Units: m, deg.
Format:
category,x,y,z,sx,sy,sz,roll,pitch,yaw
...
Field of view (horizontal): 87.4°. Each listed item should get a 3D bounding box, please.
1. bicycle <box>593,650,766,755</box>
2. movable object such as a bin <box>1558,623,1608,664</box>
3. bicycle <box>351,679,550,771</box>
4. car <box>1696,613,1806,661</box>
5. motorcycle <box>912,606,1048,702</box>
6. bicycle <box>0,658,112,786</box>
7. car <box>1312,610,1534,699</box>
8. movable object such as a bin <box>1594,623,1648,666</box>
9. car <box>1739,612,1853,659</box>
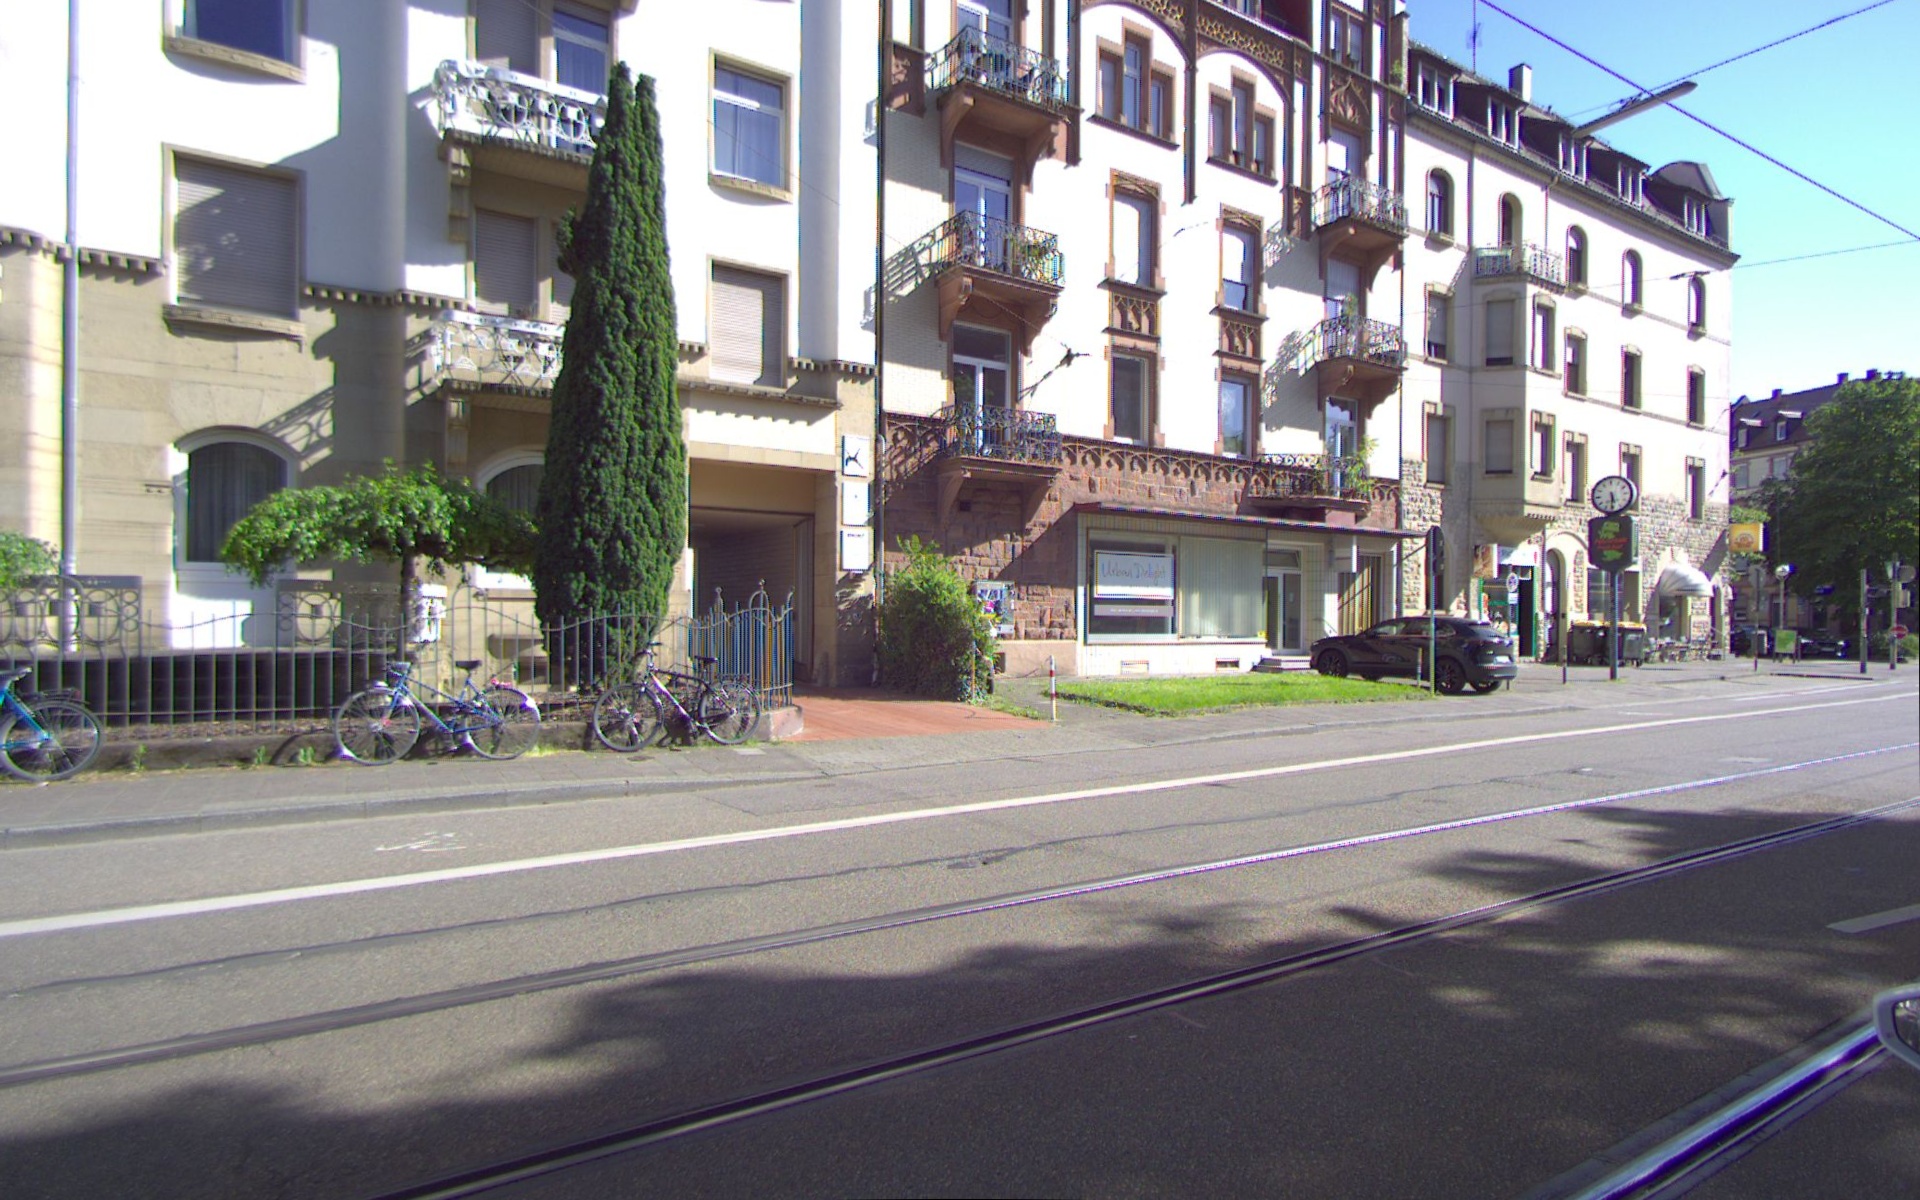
category,x,y,z,sx,sy,sz,roll,pitch,yaw
bicycle,-3.004,1.079,10.844,1.728,1.053,0.402,2,0,-31
movable object such as a bin,19.859,1.390,32.011,1.228,1.239,0.829,2,0,-28
bicycle,-4.760,1.150,9.459,1.633,0.772,0.316,2,0,-31
car,37.064,1.694,47.199,1.961,2.040,3.999,2,0,-1
motorcycle,0.274,0.884,17.626,0.814,1.476,3.067,2,0,-32
bicycle,-7.706,0.938,7.737,1.728,0.955,0.402,2,0,-31
car,9.860,1.099,21.652,1.755,1.523,3.958,2,1,-36
movable object such as a bin,20.675,1.395,31.411,1.128,1.290,0.942,2,0,-26
car,39.312,1.632,47.374,1.961,2.040,3.999,2,0,-1
